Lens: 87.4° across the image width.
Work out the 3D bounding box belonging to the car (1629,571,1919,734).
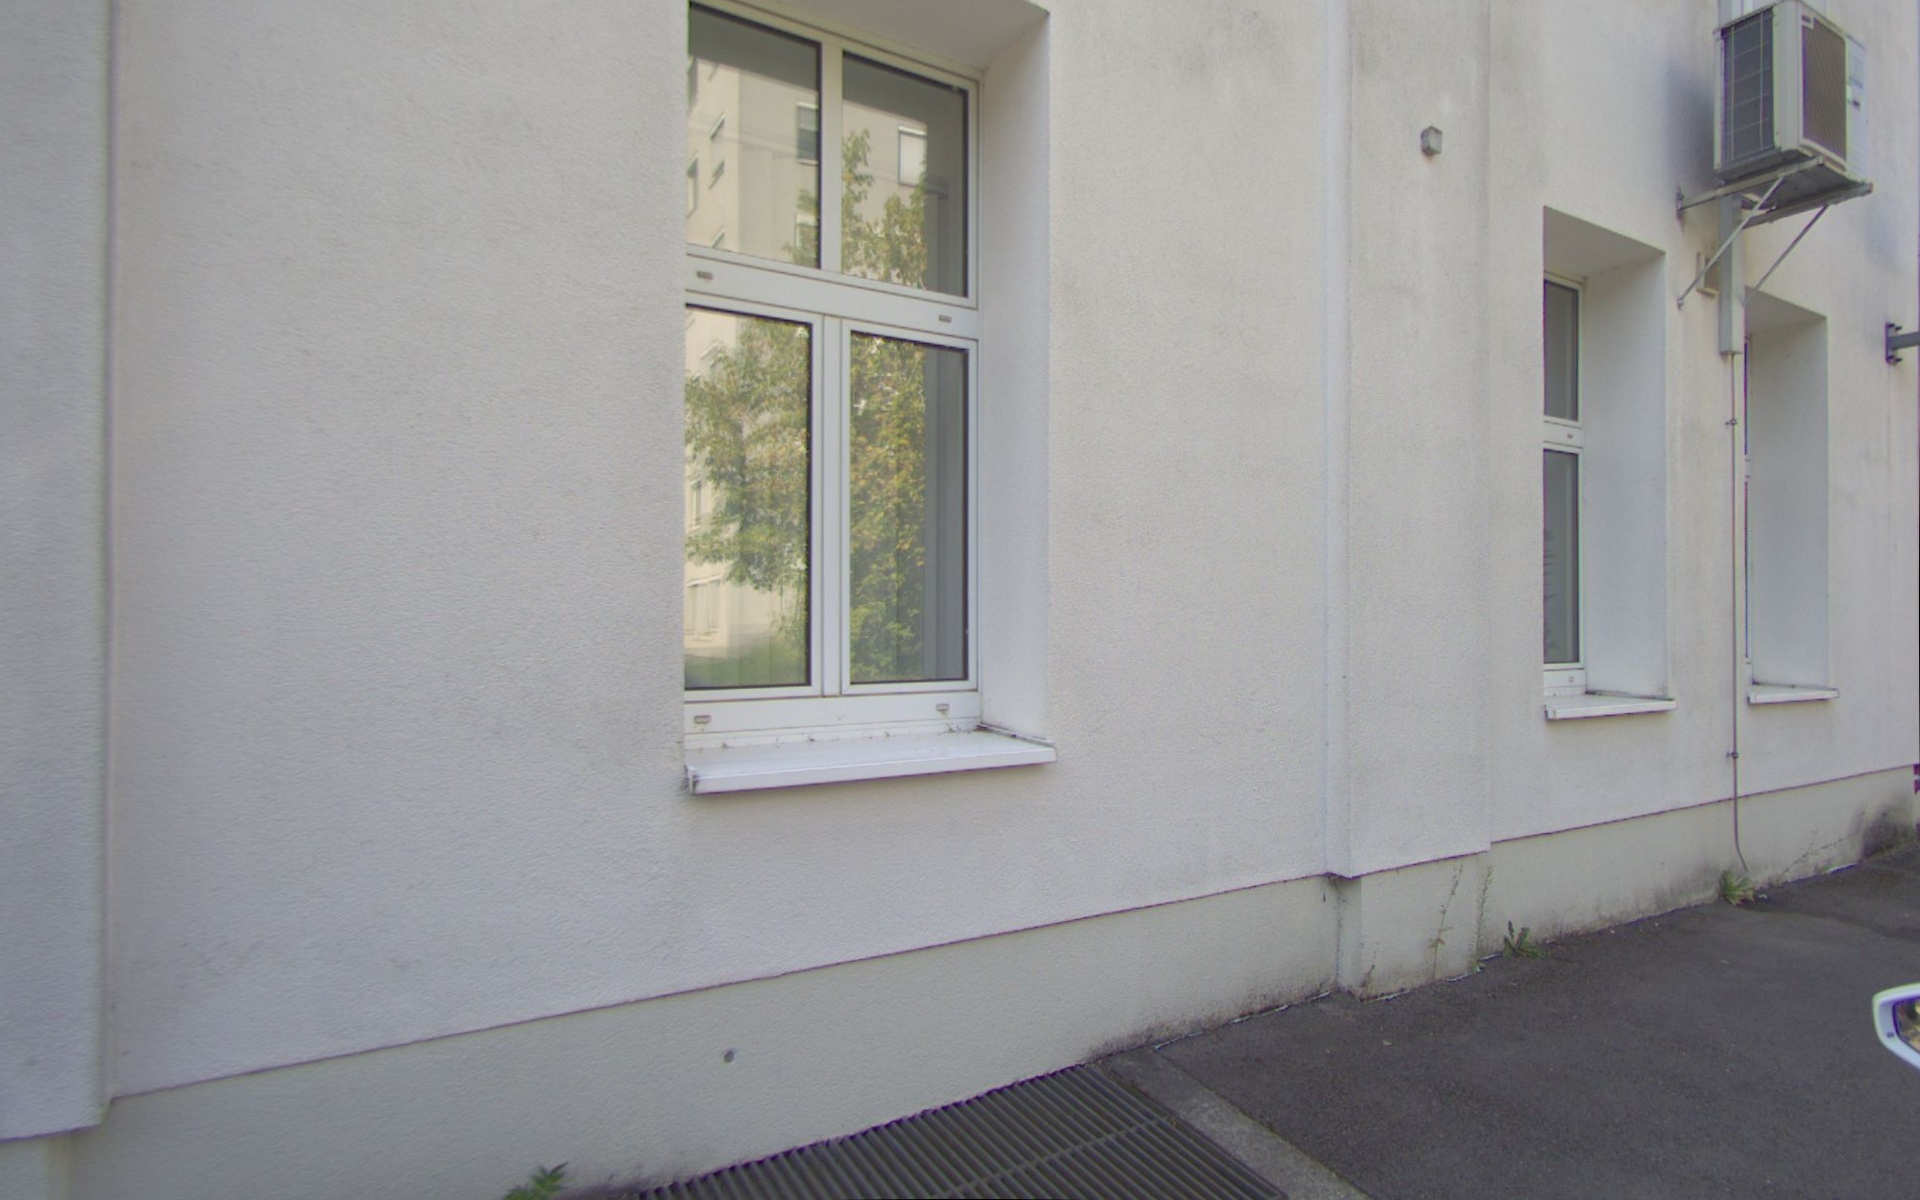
[{"bbox_3d":[12.735,0.710,14.520,2.031,2.120,4.725,1,-1,-30],"label":"car"}]
